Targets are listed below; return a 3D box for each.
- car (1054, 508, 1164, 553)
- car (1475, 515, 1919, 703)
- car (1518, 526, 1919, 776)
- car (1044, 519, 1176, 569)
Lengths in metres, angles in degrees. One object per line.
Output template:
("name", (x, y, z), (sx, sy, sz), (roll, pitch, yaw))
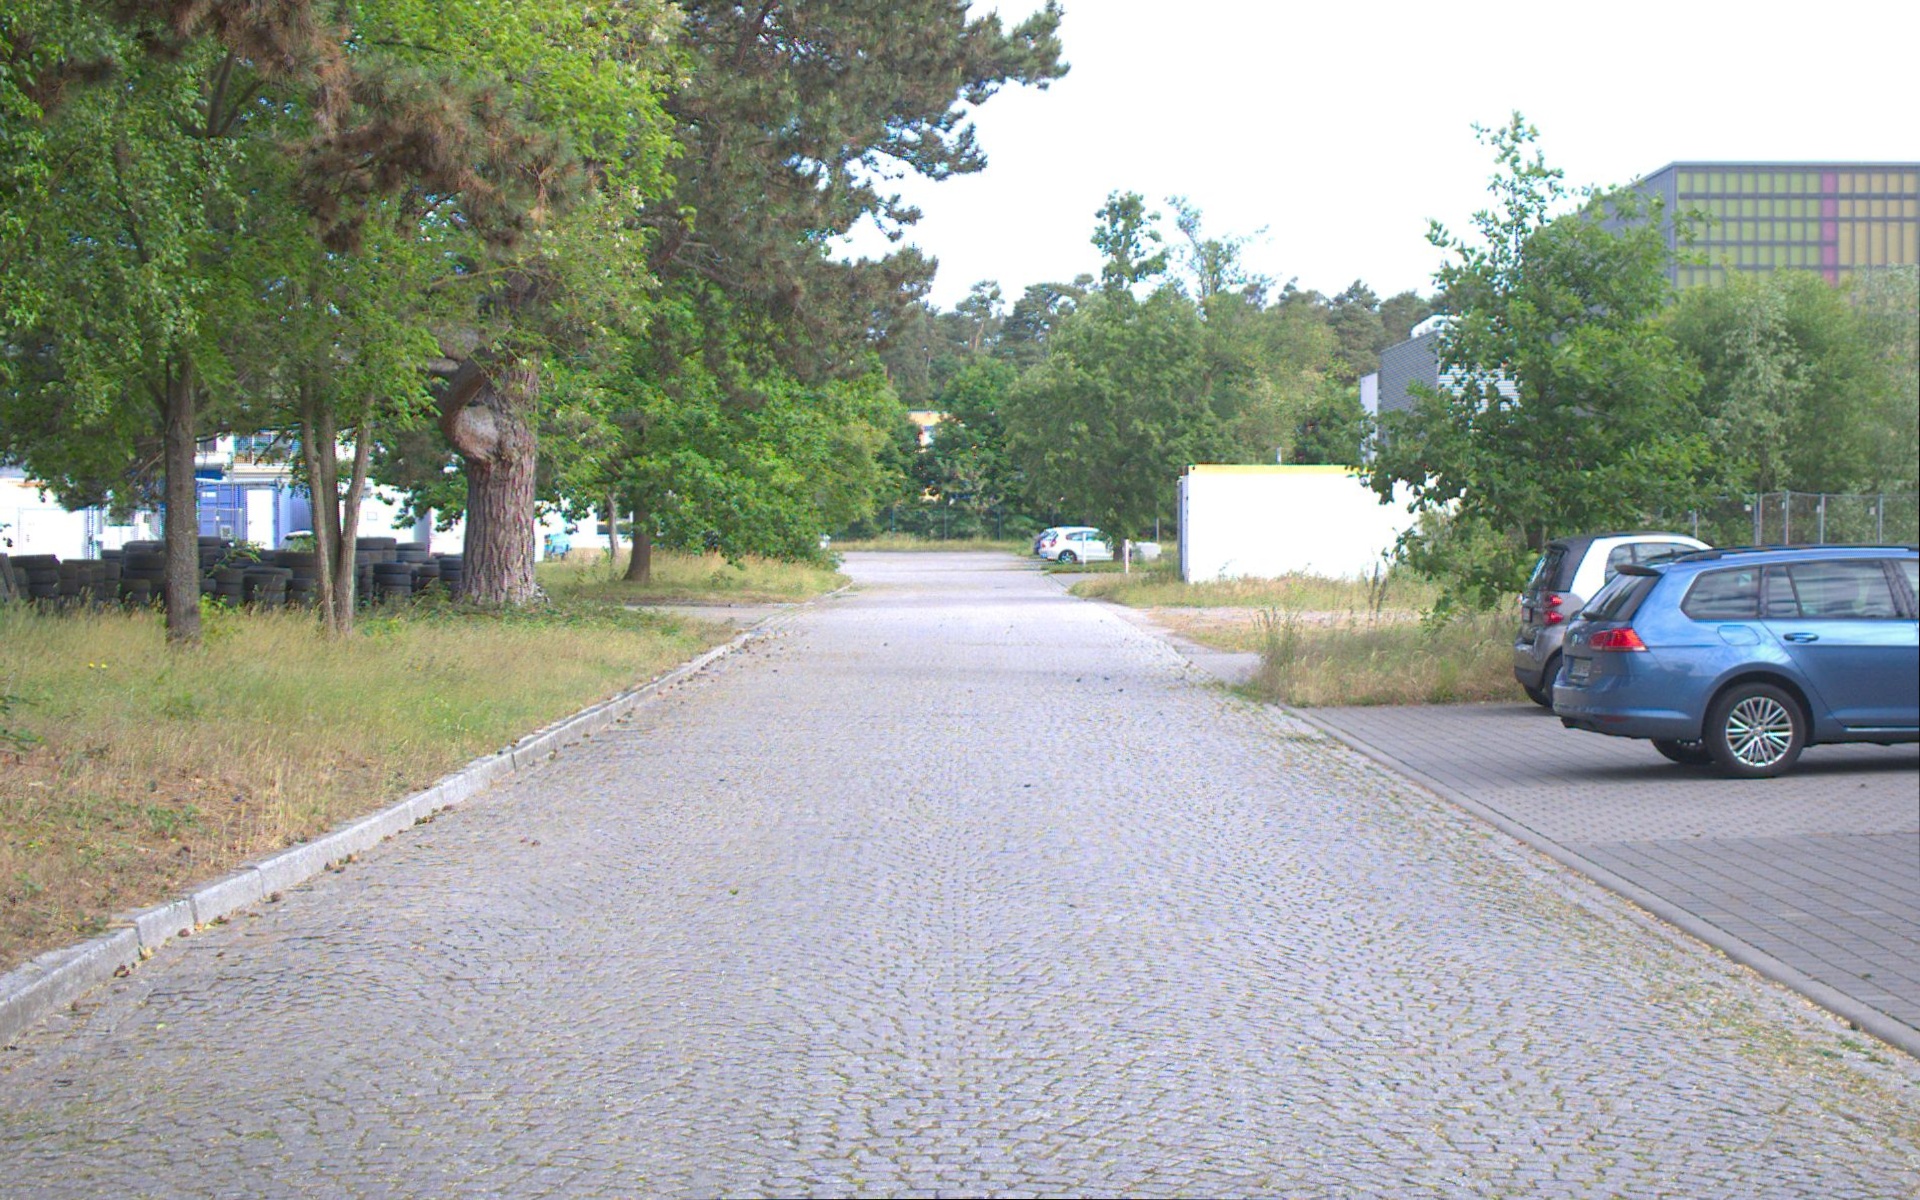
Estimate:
("car", (5.935, -2.784, 137.555), (4.355, 1.774, 1.925), (0, 1, 1))
("car", (6.959, 0.046, 30.372), (4.517, 1.526, 2.000), (-1, 1, 1))
("car", (6.201, 0.284, 23.010), (4.517, 1.526, 2.000), (-1, 1, -3))
("car", (5.074, -1.904, 116.577), (4.354, 1.682, 1.925), (0, 1, -1))
